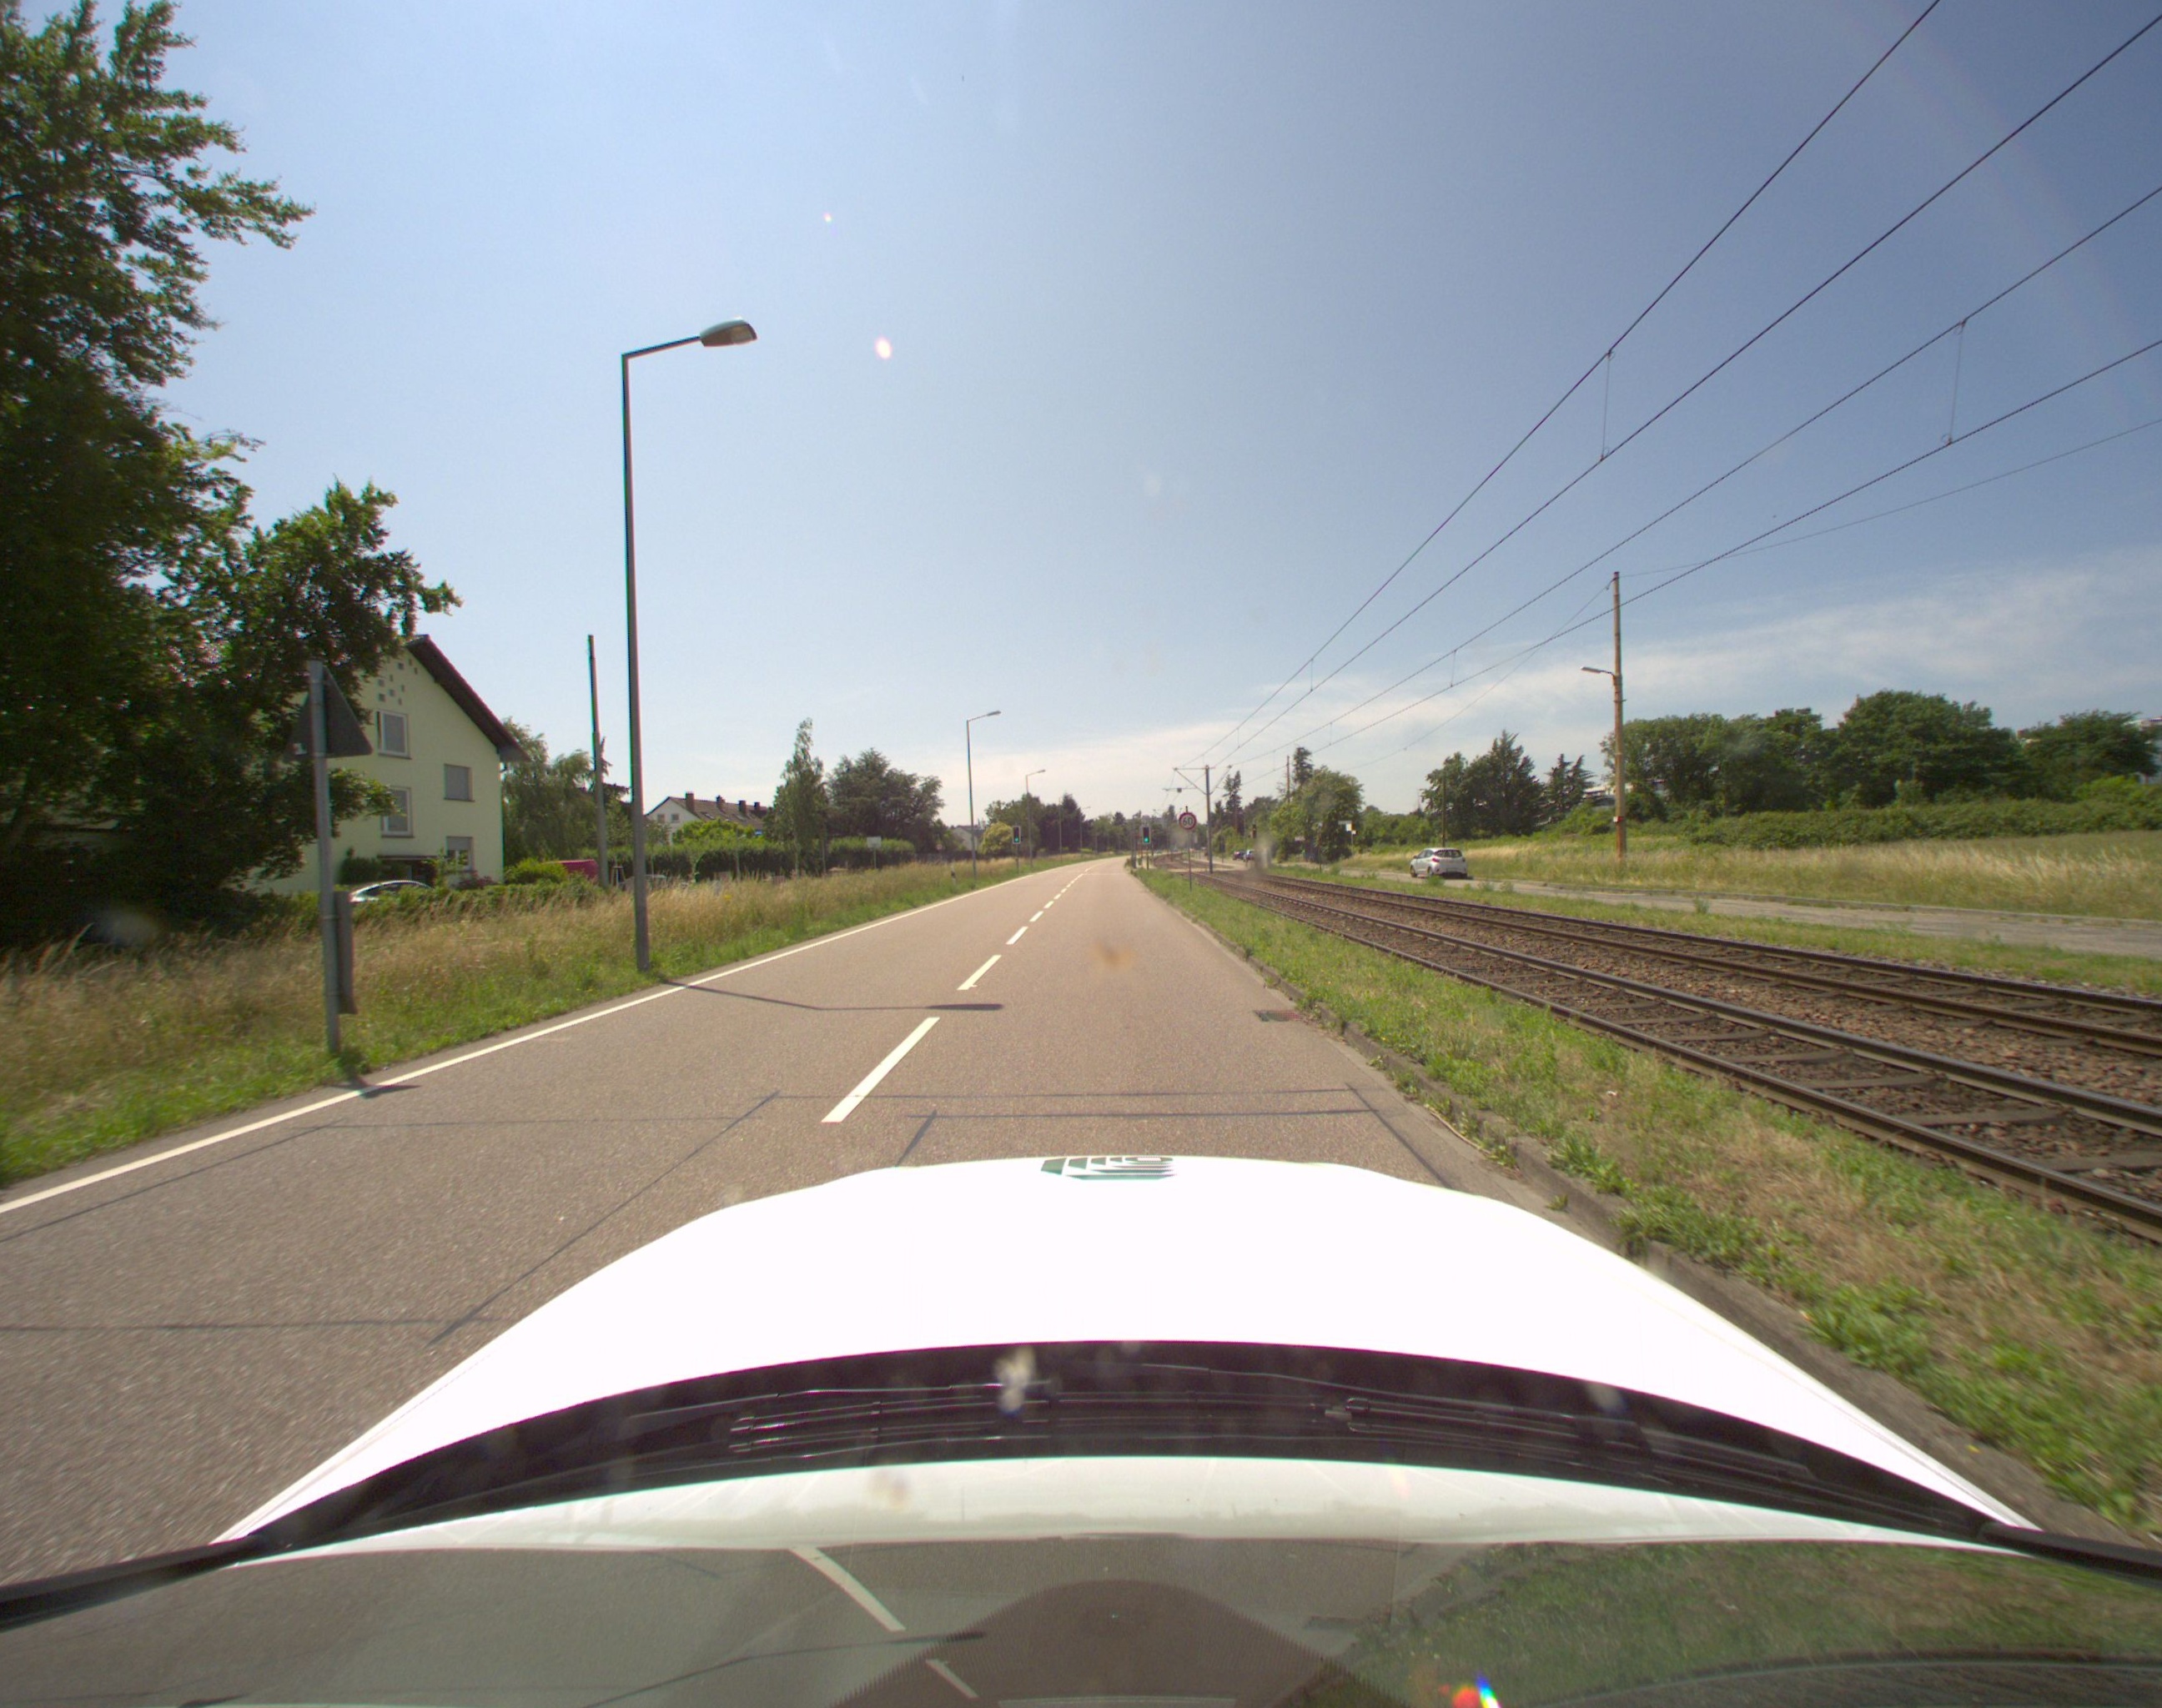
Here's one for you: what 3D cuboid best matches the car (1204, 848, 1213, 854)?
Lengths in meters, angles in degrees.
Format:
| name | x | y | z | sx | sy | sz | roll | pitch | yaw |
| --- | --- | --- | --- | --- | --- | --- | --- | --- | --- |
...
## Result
| name | x | y | z | sx | sy | sz | roll | pitch | yaw |
| --- | --- | --- | --- | --- | --- | --- | --- | --- | --- |
| car | 28.649 | -0.714 | 182.917 | 1.852 | 1.330 | 4.522 | -1 | 0 | 6 |

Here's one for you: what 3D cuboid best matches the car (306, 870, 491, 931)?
| name | x | y | z | sx | sy | sz | roll | pitch | yaw |
| --- | --- | --- | --- | --- | --- | --- | --- | --- | --- |
| car | -19.422 | 1.259 | 23.456 | 1.700 | 1.491 | 4.187 | -1 | 0 | 1 |

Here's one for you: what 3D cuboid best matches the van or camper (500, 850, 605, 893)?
| name | x | y | z | sx | sy | sz | roll | pitch | yaw |
| --- | --- | --- | --- | --- | --- | --- | --- | --- | --- |
| van or camper | -31.033 | 0.987 | 47.950 | 4.742 | 2.388 | 1.998 | -1 | 0 | -3 |

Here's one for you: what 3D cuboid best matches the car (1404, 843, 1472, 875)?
| name | x | y | z | sx | sy | sz | roll | pitch | yaw |
| --- | --- | --- | --- | --- | --- | --- | --- | --- | --- |
| car | 17.328 | 0.234 | 39.699 | 1.706 | 1.488 | 4.004 | -1 | 0 | 3 |

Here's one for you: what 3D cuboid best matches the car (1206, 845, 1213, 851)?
| name | x | y | z | sx | sy | sz | roll | pitch | yaw |
| --- | --- | --- | --- | --- | --- | --- | --- | --- | --- |
| car | 34.151 | -1.547 | 216.645 | 1.903 | 1.470 | 4.009 | -1 | 0 | 8 |

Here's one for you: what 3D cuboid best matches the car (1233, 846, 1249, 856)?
| name | x | y | z | sx | sy | sz | roll | pitch | yaw |
| --- | --- | --- | --- | --- | --- | --- | --- | --- | --- |
| car | 22.406 | -0.428 | 113.962 | 1.612 | 1.422 | 4.879 | -1 | 0 | 5 |

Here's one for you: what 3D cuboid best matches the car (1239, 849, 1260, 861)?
| name | x | y | z | sx | sy | sz | roll | pitch | yaw |
| --- | --- | --- | --- | --- | --- | --- | --- | --- | --- |
| car | 19.715 | 0.103 | 95.294 | 1.930 | 1.422 | 4.004 | -1 | 0 | 4 |
